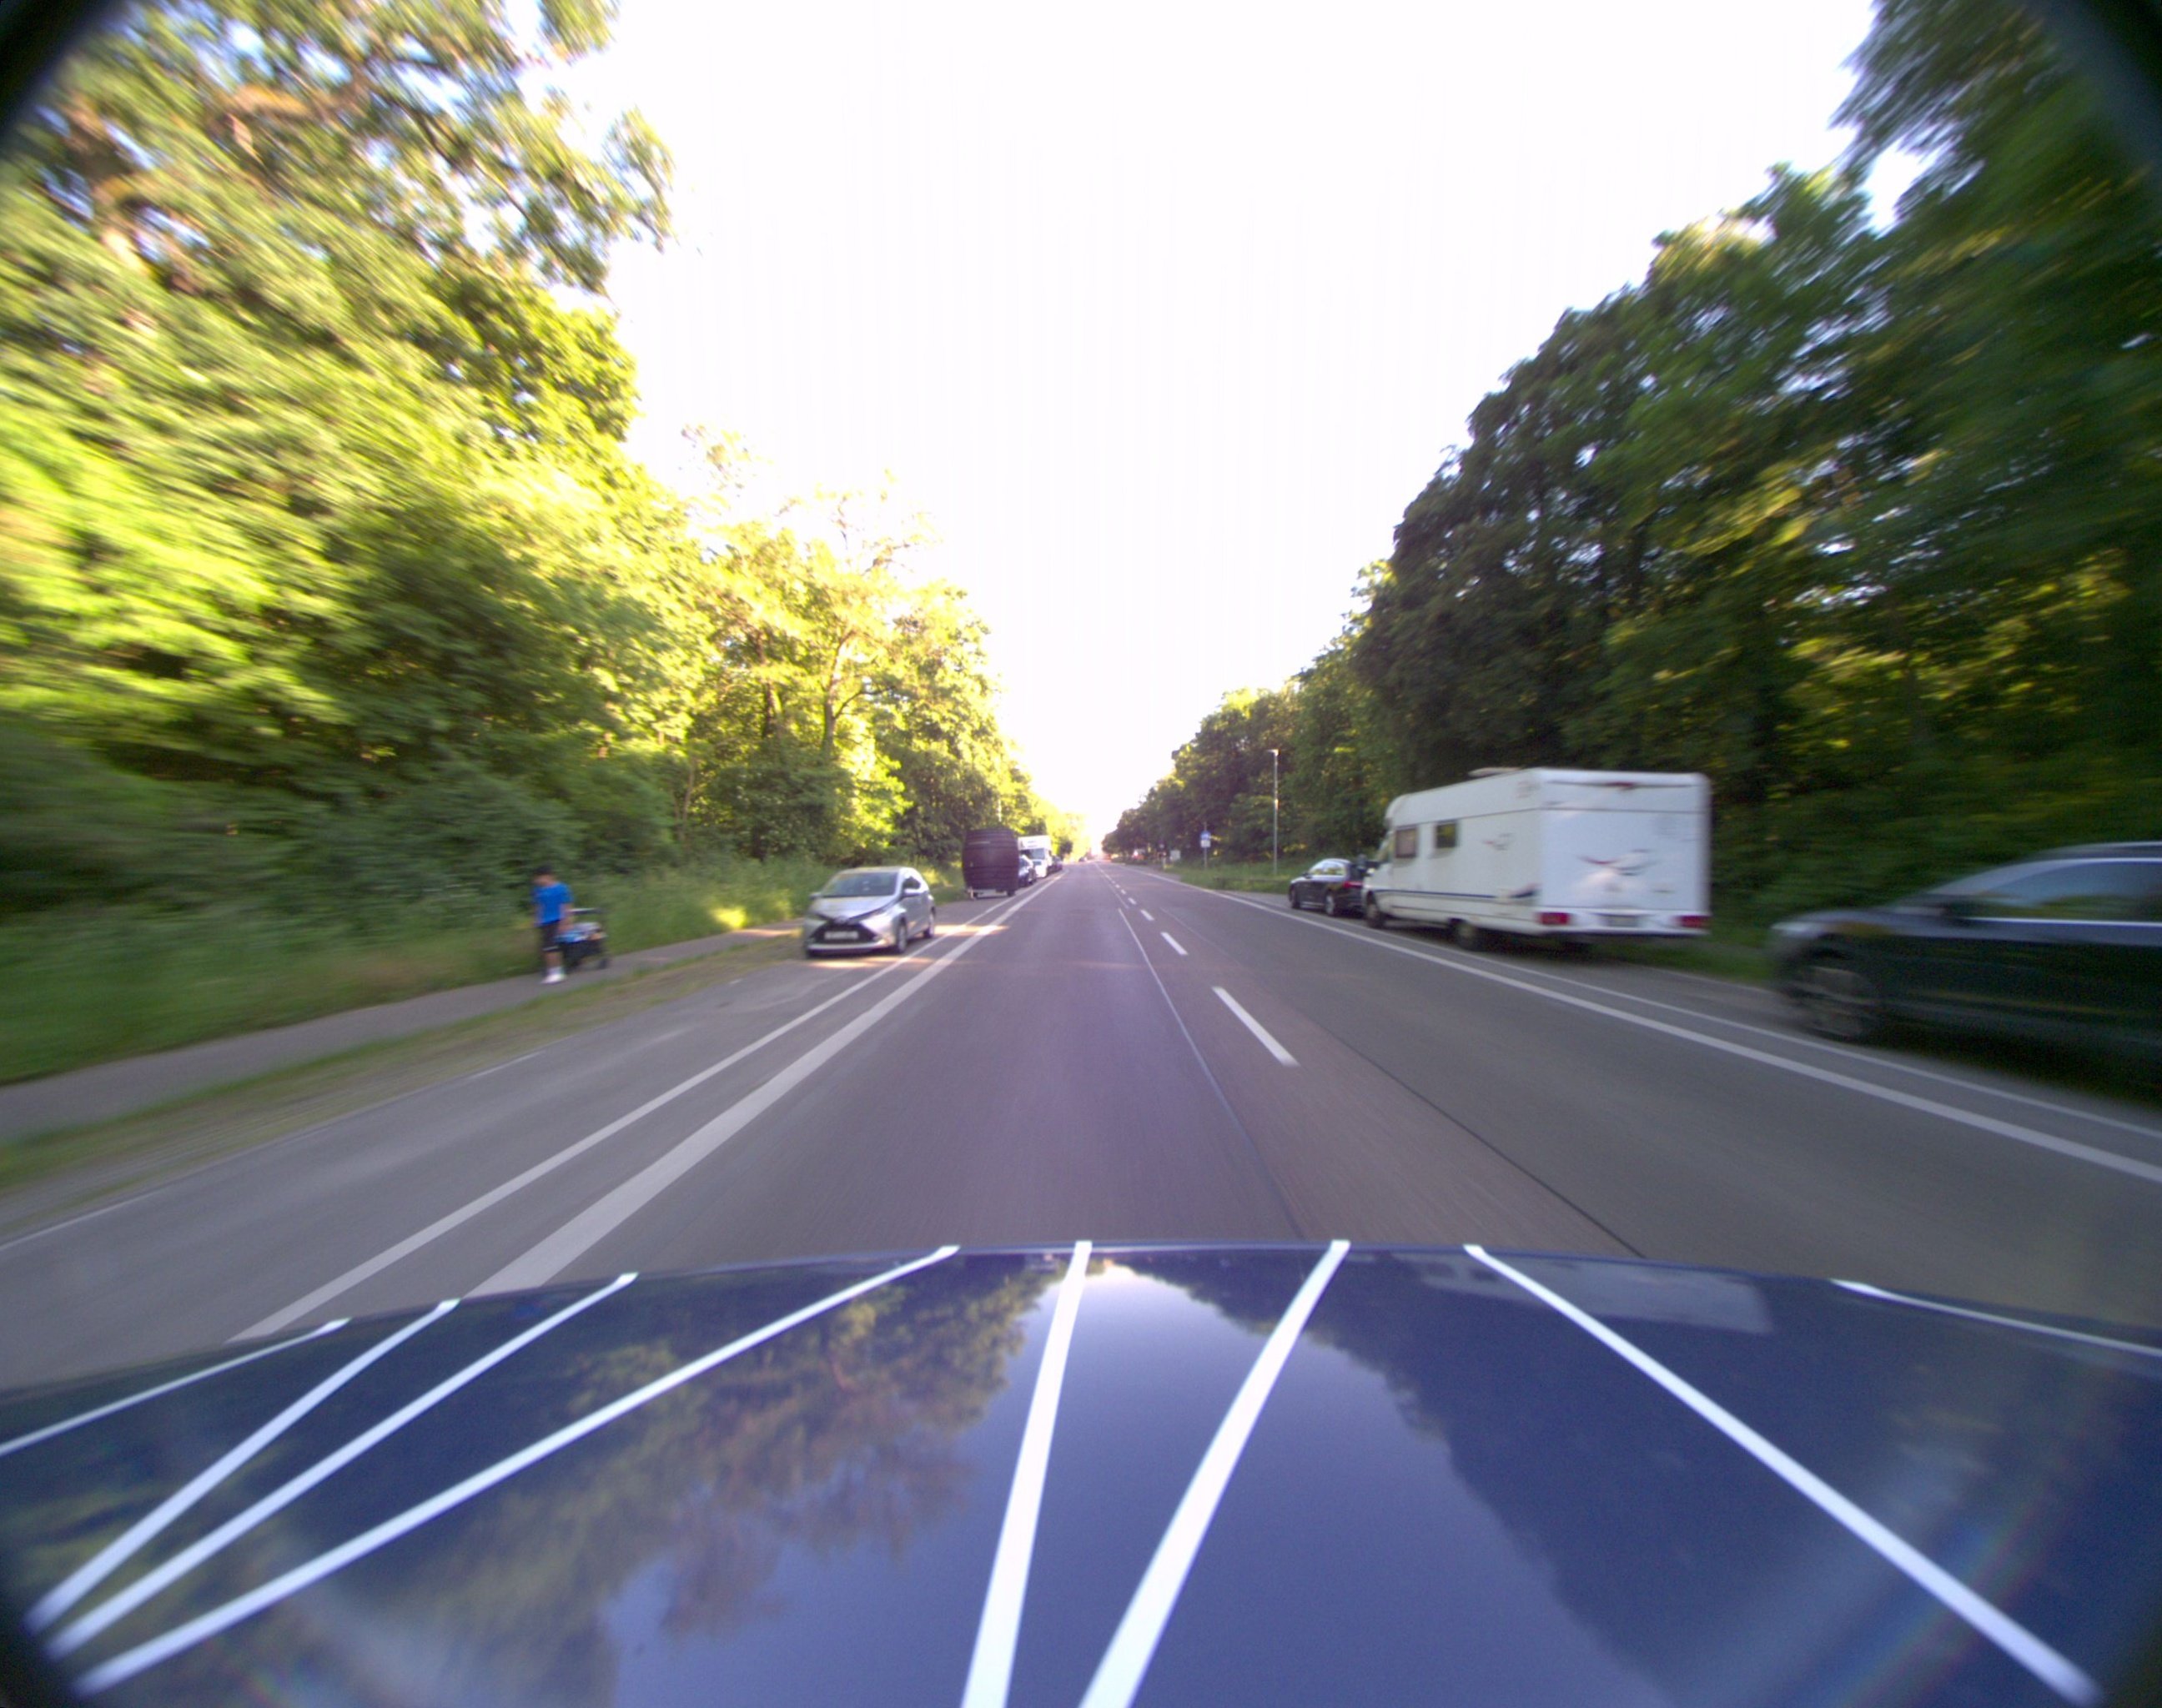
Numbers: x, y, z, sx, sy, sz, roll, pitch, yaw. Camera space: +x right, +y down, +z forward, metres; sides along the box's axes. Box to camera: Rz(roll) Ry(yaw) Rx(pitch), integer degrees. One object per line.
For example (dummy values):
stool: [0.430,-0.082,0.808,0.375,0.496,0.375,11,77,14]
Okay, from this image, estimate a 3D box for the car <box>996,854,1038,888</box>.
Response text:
car: [-3.433,0.864,41.586,1.716,1.655,4.552,-3,0,2]

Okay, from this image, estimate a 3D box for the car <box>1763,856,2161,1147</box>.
car: [6.914,0.850,4.652,1.650,1.622,4.273,1,0,1]

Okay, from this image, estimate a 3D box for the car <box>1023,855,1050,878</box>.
car: [-3.299,0.882,57.128,1.716,1.559,4.000,-3,0,0]

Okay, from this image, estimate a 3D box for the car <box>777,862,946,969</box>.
car: [-3.785,0.984,13.845,1.716,1.536,4.022,-3,0,2]

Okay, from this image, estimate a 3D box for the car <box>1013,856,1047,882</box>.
car: [-3.339,0.958,50.064,1.716,1.559,4.552,-3,0,2]

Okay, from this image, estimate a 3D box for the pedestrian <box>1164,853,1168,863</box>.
pedestrian: [13.962,0.665,124.569,0.676,1.644,0.790,-1,0,5]

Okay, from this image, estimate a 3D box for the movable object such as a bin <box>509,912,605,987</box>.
movable object such as a bin: [-8.170,1.469,11.899,0.791,1.041,0.987,-1,0,1]

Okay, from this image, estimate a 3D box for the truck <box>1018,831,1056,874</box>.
truck: [-3.744,-0.128,66.424,2.840,3.477,8.577,-1,0,0]

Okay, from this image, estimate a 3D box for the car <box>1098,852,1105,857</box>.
car: [6.332,0.044,235.827,1.830,1.517,3.943,-1,0,-2]

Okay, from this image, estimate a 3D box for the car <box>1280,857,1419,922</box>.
car: [6.891,0.834,20.076,1.832,1.467,4.680,0,0,-2]

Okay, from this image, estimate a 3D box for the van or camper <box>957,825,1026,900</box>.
van or camper: [-3.707,0.328,32.892,2.448,2.783,6.554,-3,0,-3]

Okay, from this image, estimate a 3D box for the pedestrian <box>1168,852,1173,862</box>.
pedestrian: [14.640,0.545,124.514,0.676,1.644,0.790,-1,0,5]

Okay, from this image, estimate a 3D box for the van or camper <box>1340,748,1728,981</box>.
van or camper: [7.034,0.133,13.320,2.321,2.952,7.109,1,0,-2]

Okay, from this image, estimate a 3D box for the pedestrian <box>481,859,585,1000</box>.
pedestrian: [-7.763,1.031,10.810,0.770,1.907,0.919,-1,1,1]

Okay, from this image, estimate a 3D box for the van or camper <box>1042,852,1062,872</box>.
van or camper: [-3.086,0.822,81.379,1.902,2.002,4.587,-1,0,1]
